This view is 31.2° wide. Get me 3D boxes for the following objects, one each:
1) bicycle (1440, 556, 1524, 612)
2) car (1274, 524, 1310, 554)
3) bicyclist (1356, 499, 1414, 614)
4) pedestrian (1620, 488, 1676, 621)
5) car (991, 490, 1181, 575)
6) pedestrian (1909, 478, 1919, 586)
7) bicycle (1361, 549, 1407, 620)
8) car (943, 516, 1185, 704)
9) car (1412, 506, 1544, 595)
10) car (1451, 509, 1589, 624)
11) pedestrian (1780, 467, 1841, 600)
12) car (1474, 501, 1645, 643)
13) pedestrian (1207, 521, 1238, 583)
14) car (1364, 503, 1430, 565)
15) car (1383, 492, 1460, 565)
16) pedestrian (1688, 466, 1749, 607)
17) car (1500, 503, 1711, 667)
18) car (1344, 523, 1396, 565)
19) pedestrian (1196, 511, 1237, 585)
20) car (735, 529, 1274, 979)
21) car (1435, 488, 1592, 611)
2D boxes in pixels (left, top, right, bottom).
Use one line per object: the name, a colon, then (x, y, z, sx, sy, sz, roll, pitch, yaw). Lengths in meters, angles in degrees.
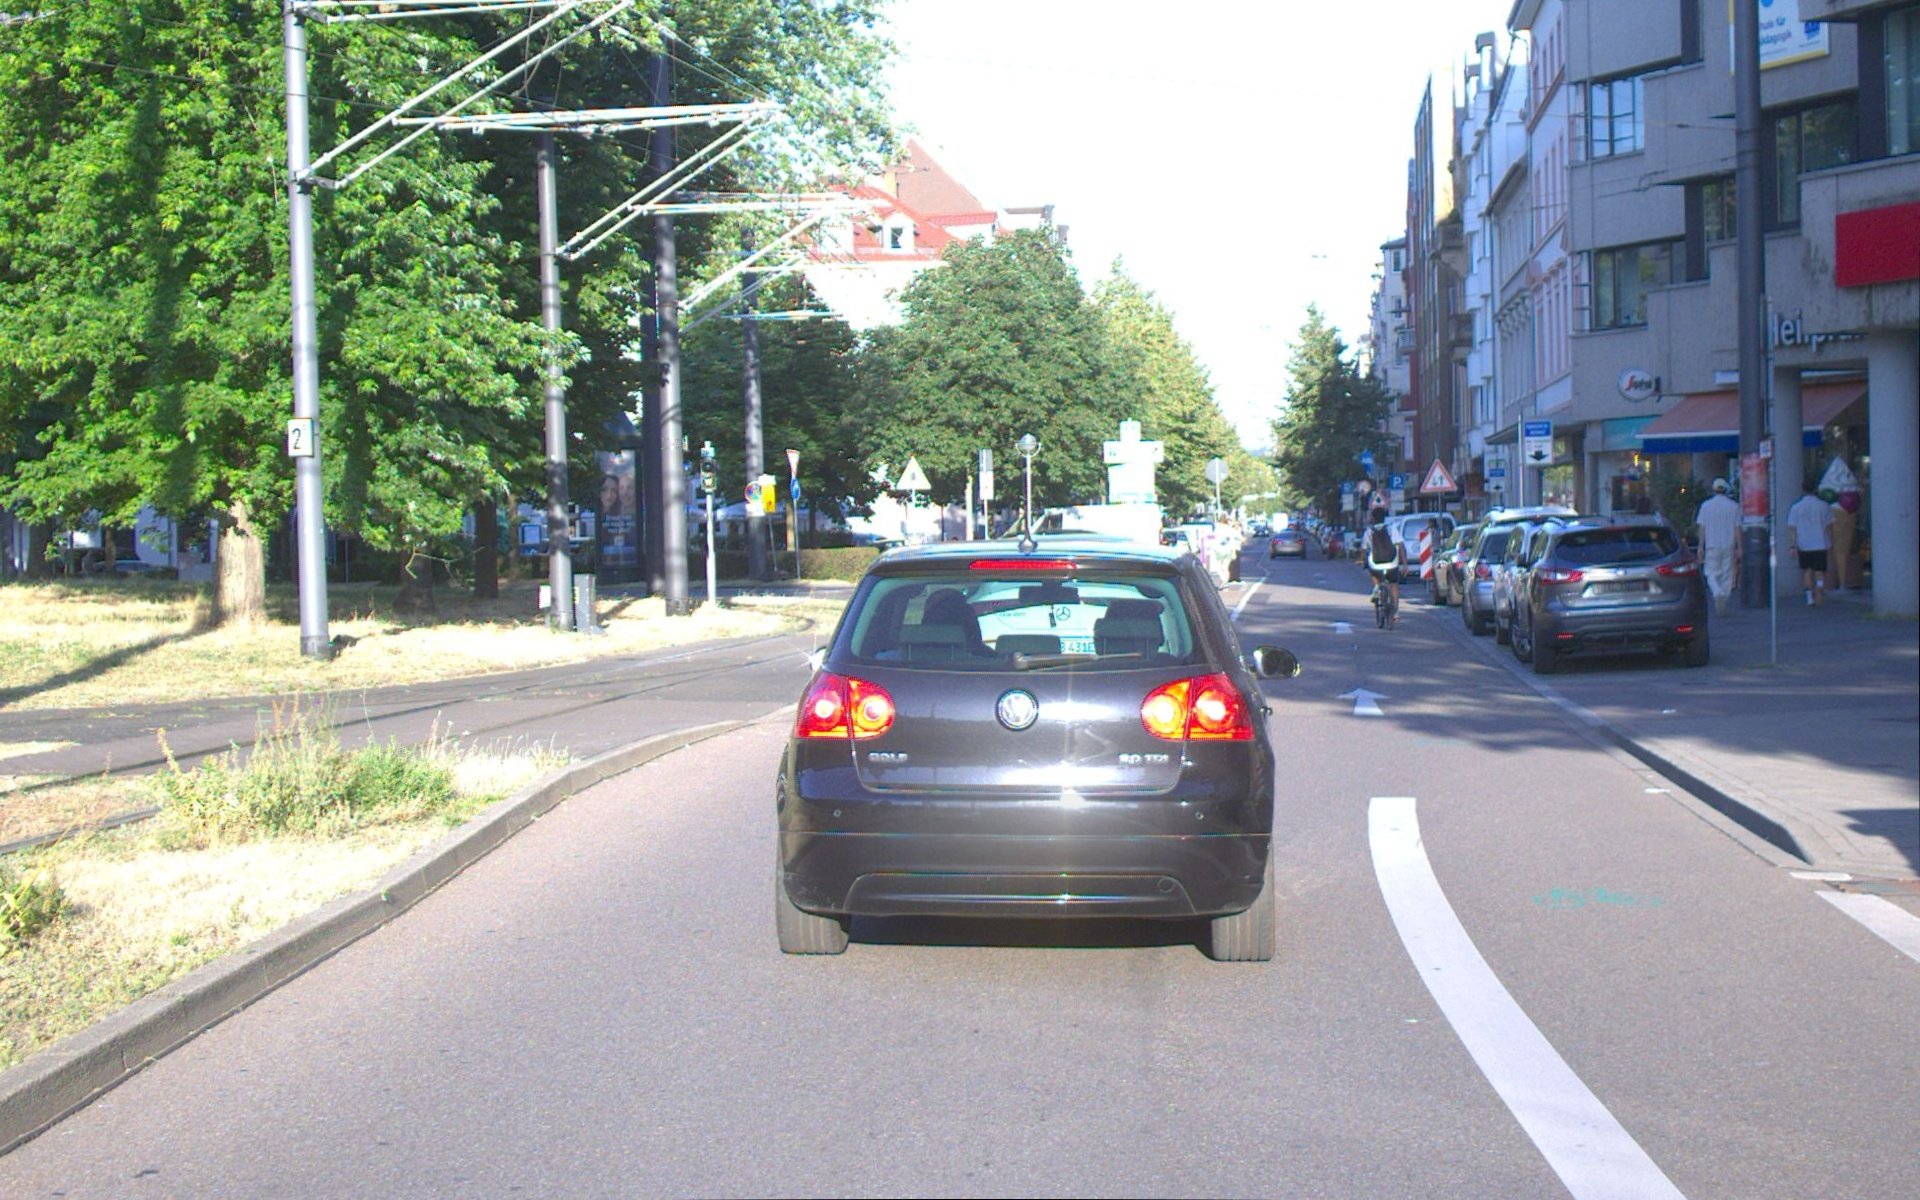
bicycle: (11.092, -0.332, 73.087, 1.605, 1.115, 0.611, -2, 2, 39)
car: (18.055, -3.340, 187.041, 1.907, 1.546, 4.000, -1, 1, 5)
bicyclist: (6.012, -0.620, 48.655, 0.777, 1.613, 1.025, 0, 1, 5)
pedestrian: (9.307, -0.616, 46.518, 0.579, 1.754, 0.661, -4, 1, 7)
car: (3.946, -2.120, 107.495, 5.510, 2.586, 2.155, -1, 1, -21)
pedestrian: (15.241, -1.066, 53.122, 0.989, 1.667, 0.641, -2, 1, 7)
bicycle: (5.994, -0.231, 48.698, 0.579, 0.984, 1.935, 0, 1, 5)
car: (0.953, 0.031, 29.178, 1.865, 1.436, 4.197, -1, 2, 4)
car: (9.128, -0.881, 60.842, 1.662, 1.436, 3.823, -3, 1, 0)
car: (7.663, -0.487, 47.303, 1.662, 1.436, 3.854, -3, 1, 7)
pedestrian: (11.446, -0.894, 46.270, 0.622, 1.734, 0.661, -4, 1, 7)
car: (7.205, -0.361, 41.572, 1.607, 1.551, 3.610, -3, 1, 4)
pedestrian: (6.629, -1.223, 86.748, 0.736, 1.549, 0.632, -1, 1, 2)
car: (13.570, -2.046, 106.918, 1.925, 1.835, 4.017, -2, 1, 6)
car: (11.923, -1.841, 89.046, 1.735, 1.794, 3.916, -2, 1, 5)
pedestrian: (10.171, -0.851, 46.130, 0.622, 1.851, 0.661, -4, 1, 7)
car: (6.814, -0.197, 36.641, 1.782, 1.551, 4.234, -3, 1, 6)
car: (15.849, -2.163, 133.024, 1.752, 1.505, 3.545, -2, 1, 4)
pedestrian: (5.919, -1.201, 79.266, 0.859, 1.700, 0.941, 0, 1, -1)
car: (0.322, 0.462, 13.241, 1.748, 1.456, 4.103, 0, 1, 5)
car: (8.514, -0.794, 53.173, 1.867, 1.708, 4.505, -3, 1, 3)
